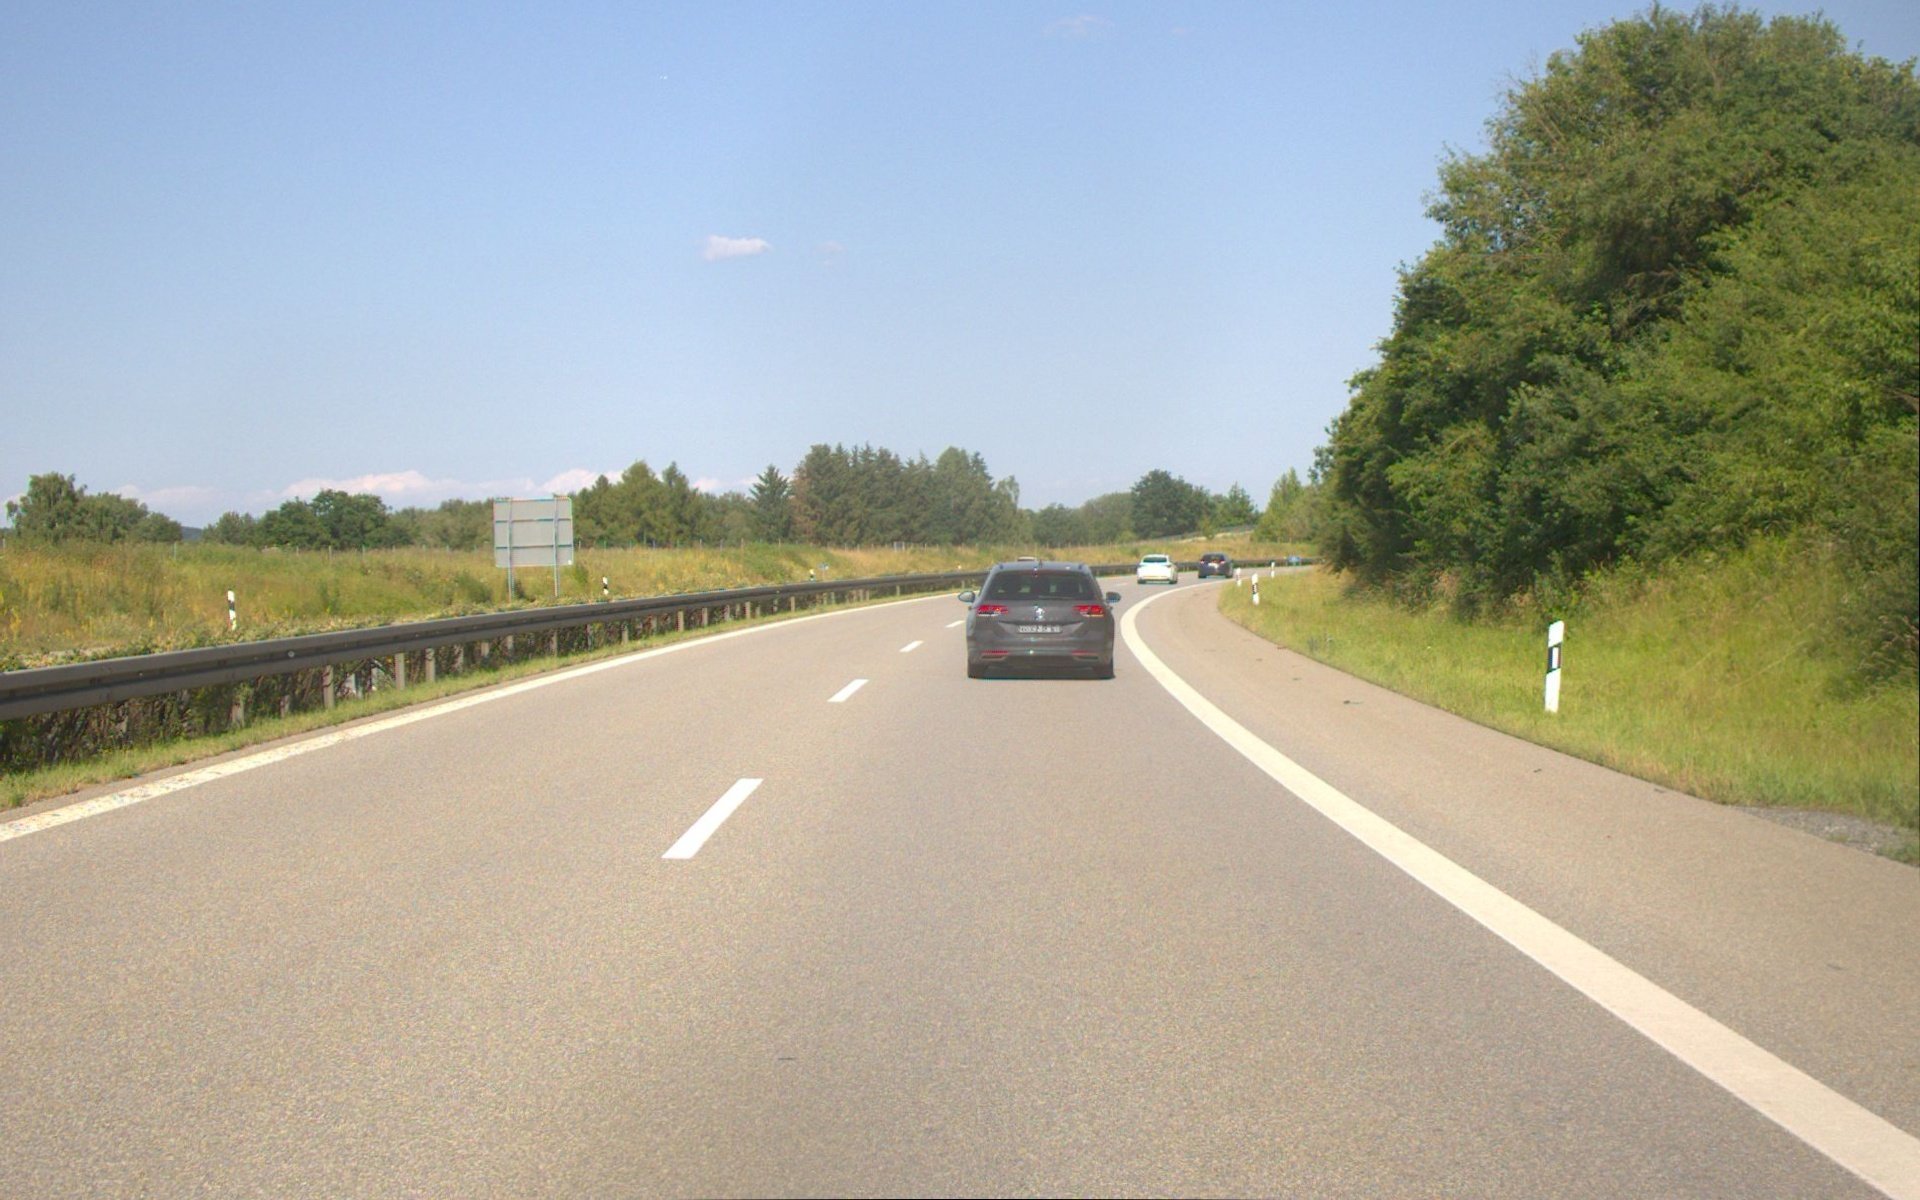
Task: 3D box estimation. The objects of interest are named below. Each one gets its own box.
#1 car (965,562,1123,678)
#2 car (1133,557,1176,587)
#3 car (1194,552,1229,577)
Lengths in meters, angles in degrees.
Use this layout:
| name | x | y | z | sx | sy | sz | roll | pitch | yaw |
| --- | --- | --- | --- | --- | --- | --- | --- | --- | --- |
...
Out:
| name | x | y | z | sx | sy | sz | roll | pitch | yaw |
| --- | --- | --- | --- | --- | --- | --- | --- | --- | --- |
| car | 0.994 | 0.213 | 42.466 | 1.791 | 1.340 | 4.000 | 1 | 1 | -1 |
| car | 9.452 | -1.339 | 167.233 | 2.007 | 1.340 | 3.999 | 2 | 0 | 3 |
| car | 14.698 | -2.056 | 200.829 | 1.711 | 1.382 | 3.354 | 2 | 0 | 9 |
